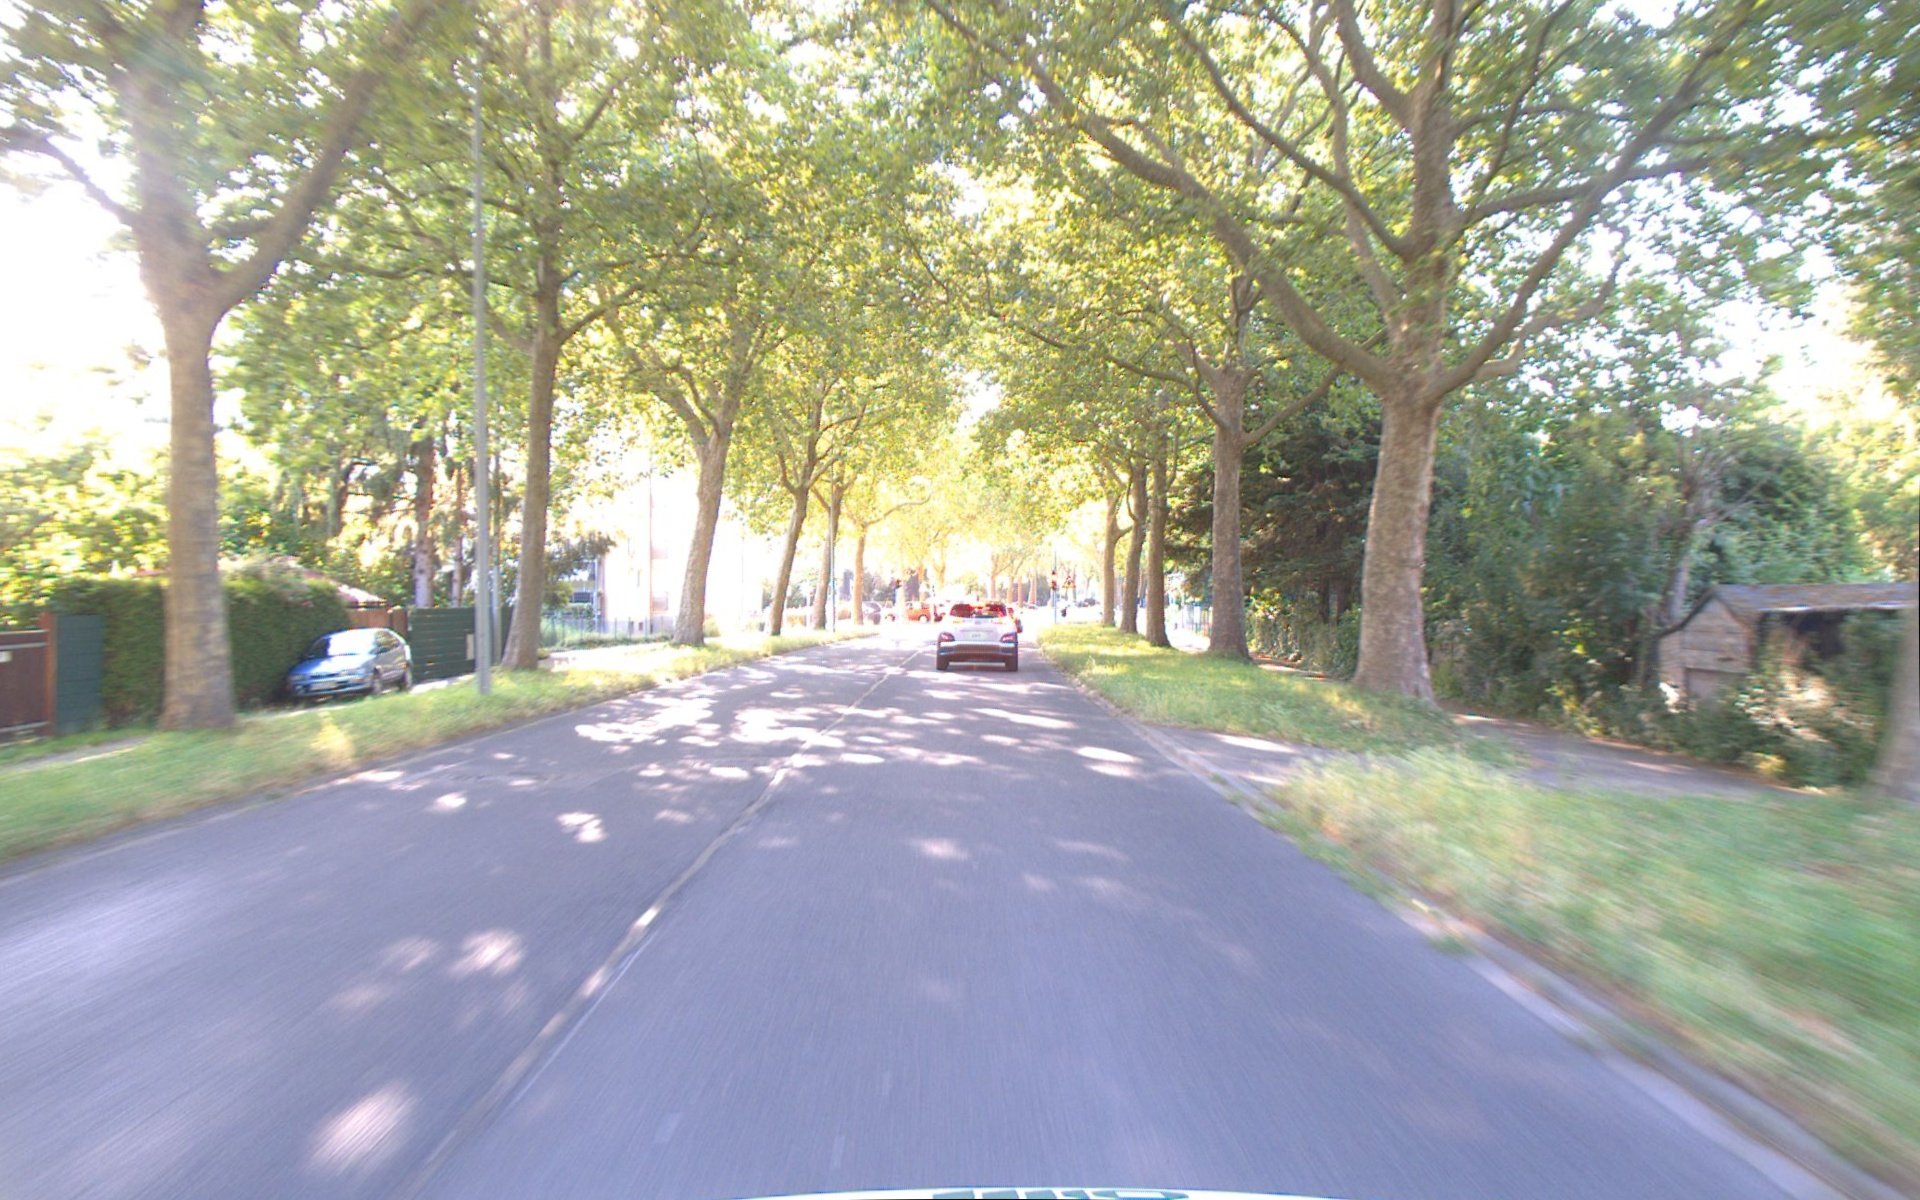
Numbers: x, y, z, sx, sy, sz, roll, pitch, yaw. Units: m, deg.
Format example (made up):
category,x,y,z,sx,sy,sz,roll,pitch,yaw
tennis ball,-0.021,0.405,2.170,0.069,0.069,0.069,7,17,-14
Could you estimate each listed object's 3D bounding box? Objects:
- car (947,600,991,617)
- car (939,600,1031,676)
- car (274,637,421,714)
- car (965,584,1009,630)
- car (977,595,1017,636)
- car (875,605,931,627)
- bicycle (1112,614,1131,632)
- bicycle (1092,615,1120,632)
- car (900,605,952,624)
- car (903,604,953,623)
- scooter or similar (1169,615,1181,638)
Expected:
category,x,y,z,sx,sy,sz,roll,pitch,yaw
car,0.865,0.805,150.906,3.903,1.504,2.001,1,-1,3
car,0.588,0.836,37.332,1.952,1.602,4.000,1,-1,1
car,-12.647,1.515,34.397,1.717,1.327,3.998,-1,1,-3
car,1.277,0.360,77.015,1.952,2.049,4.000,1,-1,1
car,1.900,0.786,85.526,1.952,2.049,4.000,1,-1,1
car,-4.162,1.168,121.763,3.903,1.504,2.001,1,-1,3
bicycle,11.253,1.606,115.212,0.593,1.204,2.109,1,-1,-16
bicycle,10.088,1.609,114.310,0.600,1.184,2.118,2,-1,-40
car,-2.701,1.166,131.653,3.902,1.504,2.001,1,-1,6
car,-2.613,1.089,136.292,3.903,1.504,2.001,1,-1,3
scooter or similar,12.477,1.541,96.188,0.538,1.280,2.314,1,-1,4
